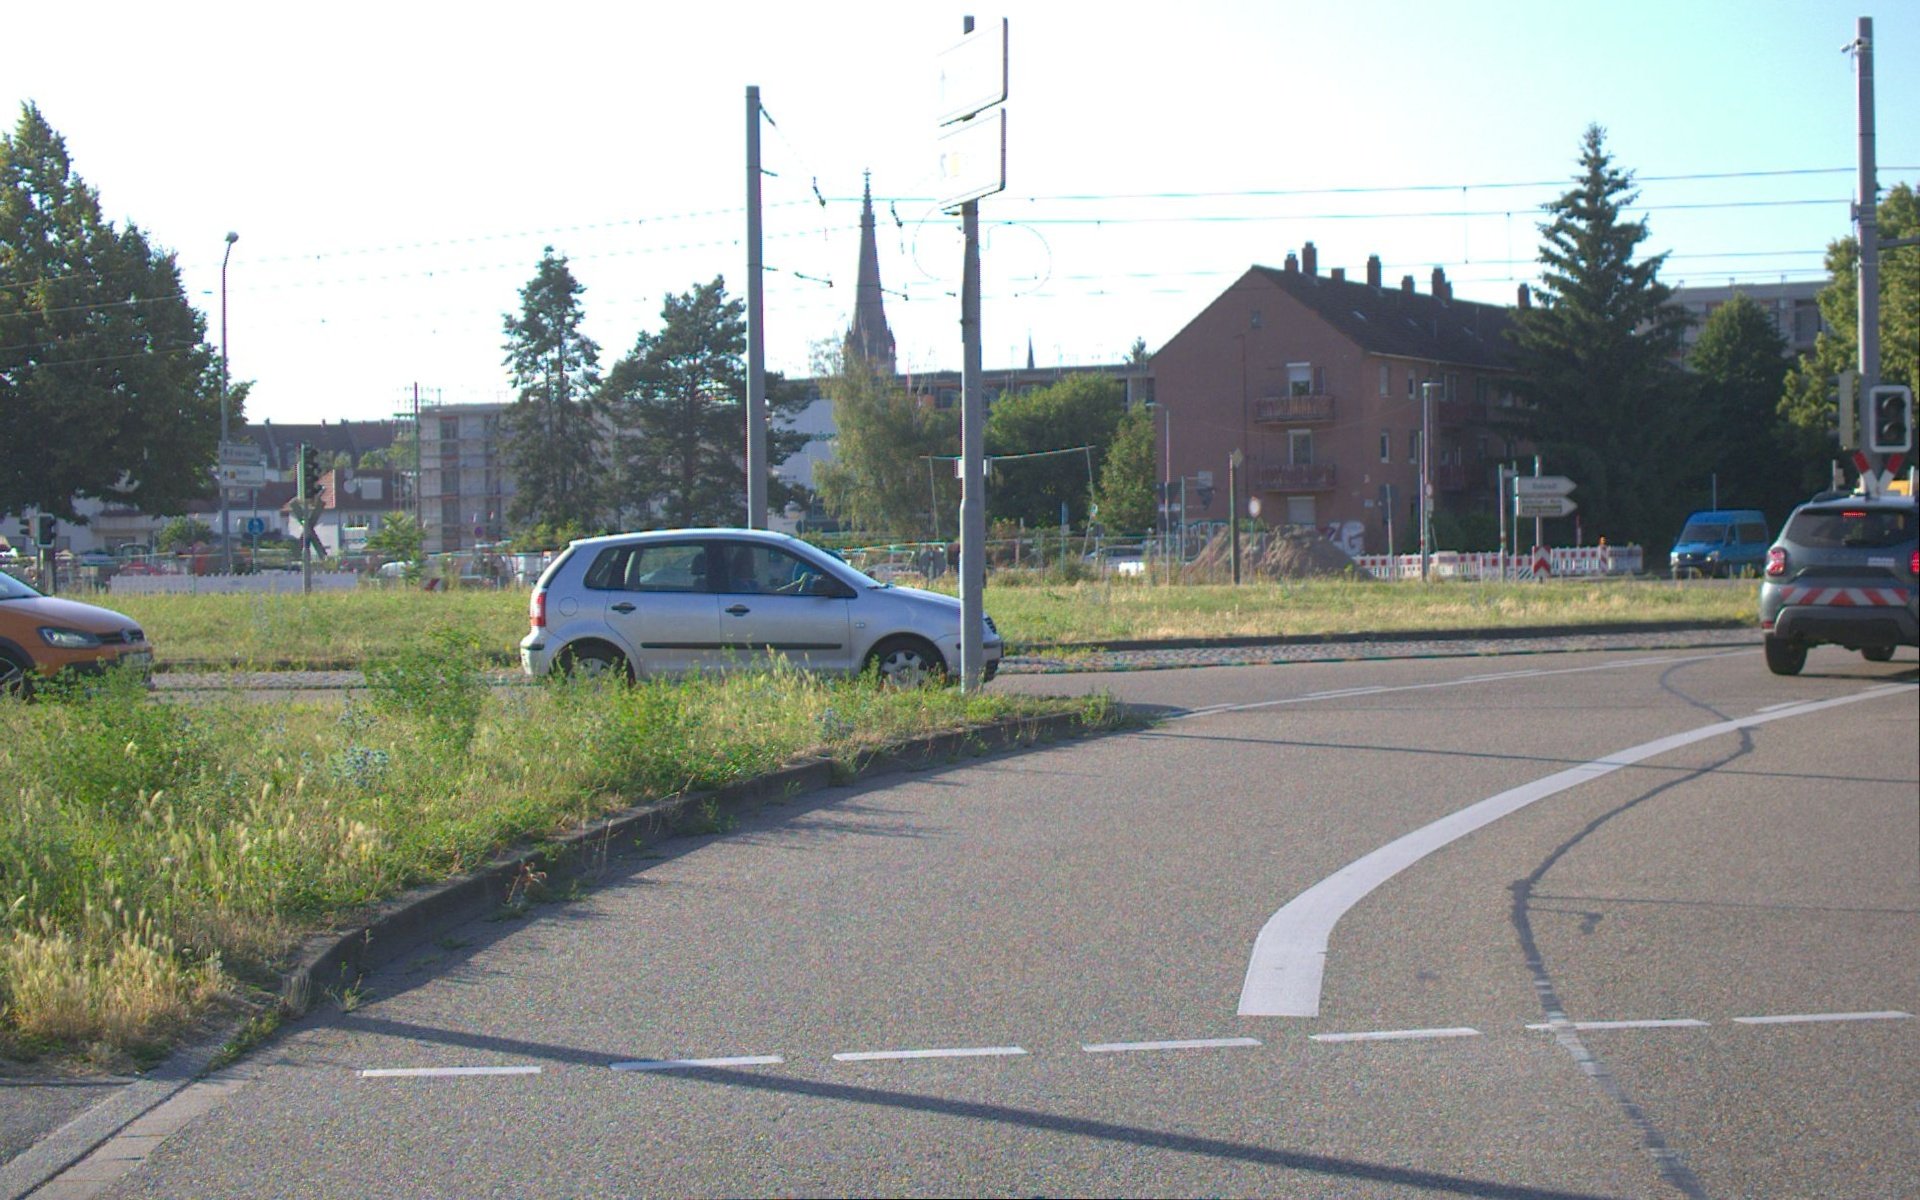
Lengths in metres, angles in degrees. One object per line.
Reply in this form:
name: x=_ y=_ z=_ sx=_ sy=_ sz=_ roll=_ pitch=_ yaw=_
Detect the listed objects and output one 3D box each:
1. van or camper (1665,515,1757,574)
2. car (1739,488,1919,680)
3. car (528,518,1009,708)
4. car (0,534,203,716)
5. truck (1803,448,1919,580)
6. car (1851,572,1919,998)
van or camper: x=28.310 y=-2.093 z=129.505 sx=2.097 sy=2.147 sz=4.416 roll=0 pitch=1 yaw=30
car: x=8.746 y=-0.164 z=31.647 sx=1.908 sy=1.654 sz=3.993 roll=0 pitch=1 yaw=31
car: x=-1.490 y=0.086 z=27.892 sx=3.747 sy=1.429 sz=1.836 roll=-1 pitch=1 yaw=1
car: x=-8.662 y=0.203 z=28.720 sx=4.127 sy=1.439 sz=1.909 roll=-1 pitch=1 yaw=10
truck: x=19.436 y=-1.692 z=67.395 sx=2.580 sy=2.549 sz=6.253 roll=-1 pitch=1 yaw=-20
car: x=4.451 y=0.720 z=11.972 sx=1.602 sy=1.604 sz=4.000 roll=-1 pitch=1 yaw=-1
